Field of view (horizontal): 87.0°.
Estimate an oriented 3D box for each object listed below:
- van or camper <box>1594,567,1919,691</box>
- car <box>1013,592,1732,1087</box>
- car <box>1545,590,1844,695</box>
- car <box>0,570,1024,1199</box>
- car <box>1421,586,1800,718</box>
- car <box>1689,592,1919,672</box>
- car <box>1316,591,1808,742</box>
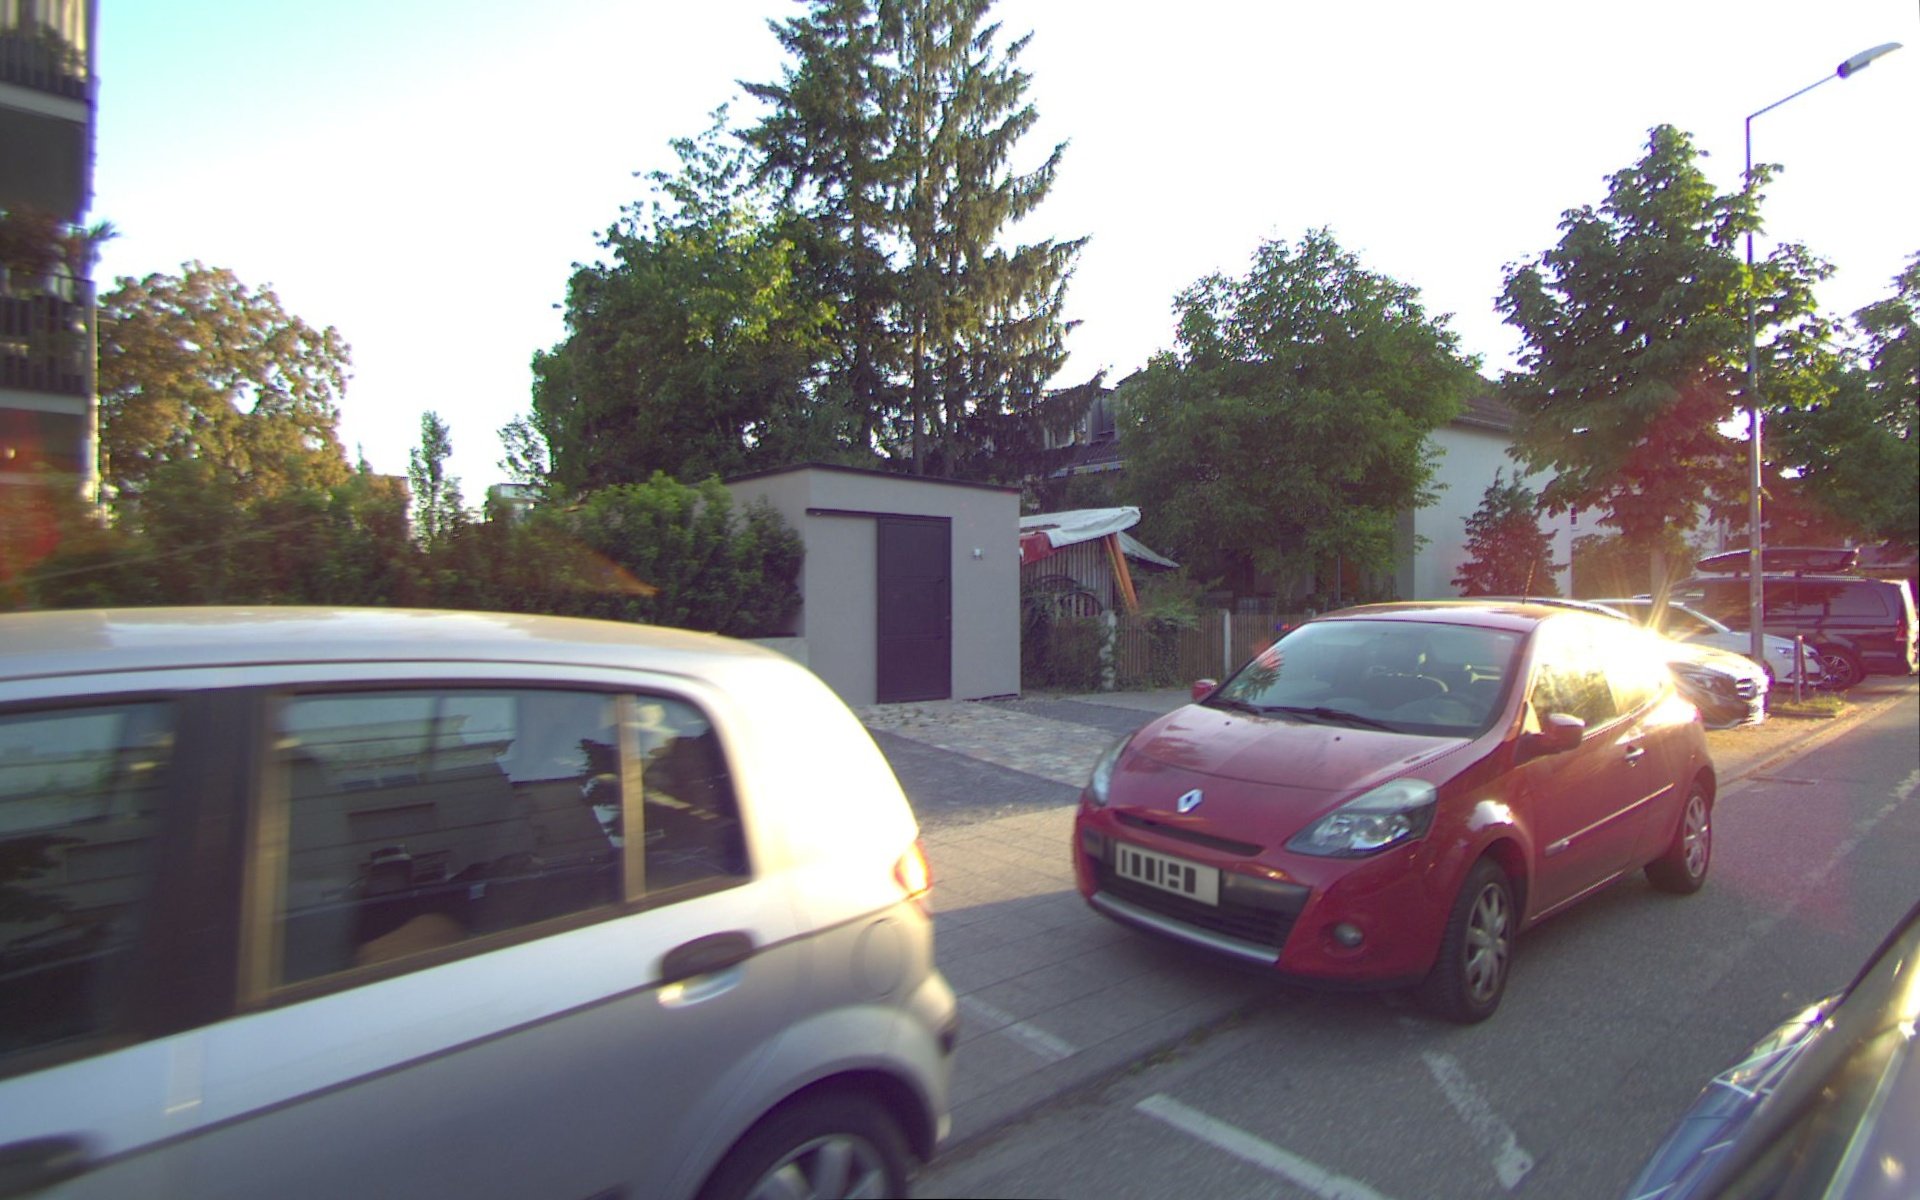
[{"bbox_3d":[14.536,0.466,18.468,2.060,1.978,4.651,0,0,-43],"label":"van or camper"},{"bbox_3d":[2.197,0.718,4.936,3.692,1.488,1.744,-1,0,-40],"label":"car"},{"bbox_3d":[12.284,0.638,17.104,1.601,1.563,3.838,0,0,-41],"label":"car"},{"bbox_3d":[-1.850,0.715,1.685,3.778,1.488,1.799,-1,0,-42],"label":"car"},{"bbox_3d":[8.795,0.589,13.991,1.737,1.520,4.066,0,1,-37],"label":"car"},{"bbox_3d":[18.438,0.636,21.920,1.761,1.580,3.994,0,0,-40],"label":"car"},{"bbox_3d":[6.970,0.635,12.240,1.739,1.415,4.827,0,1,-41],"label":"car"}]
